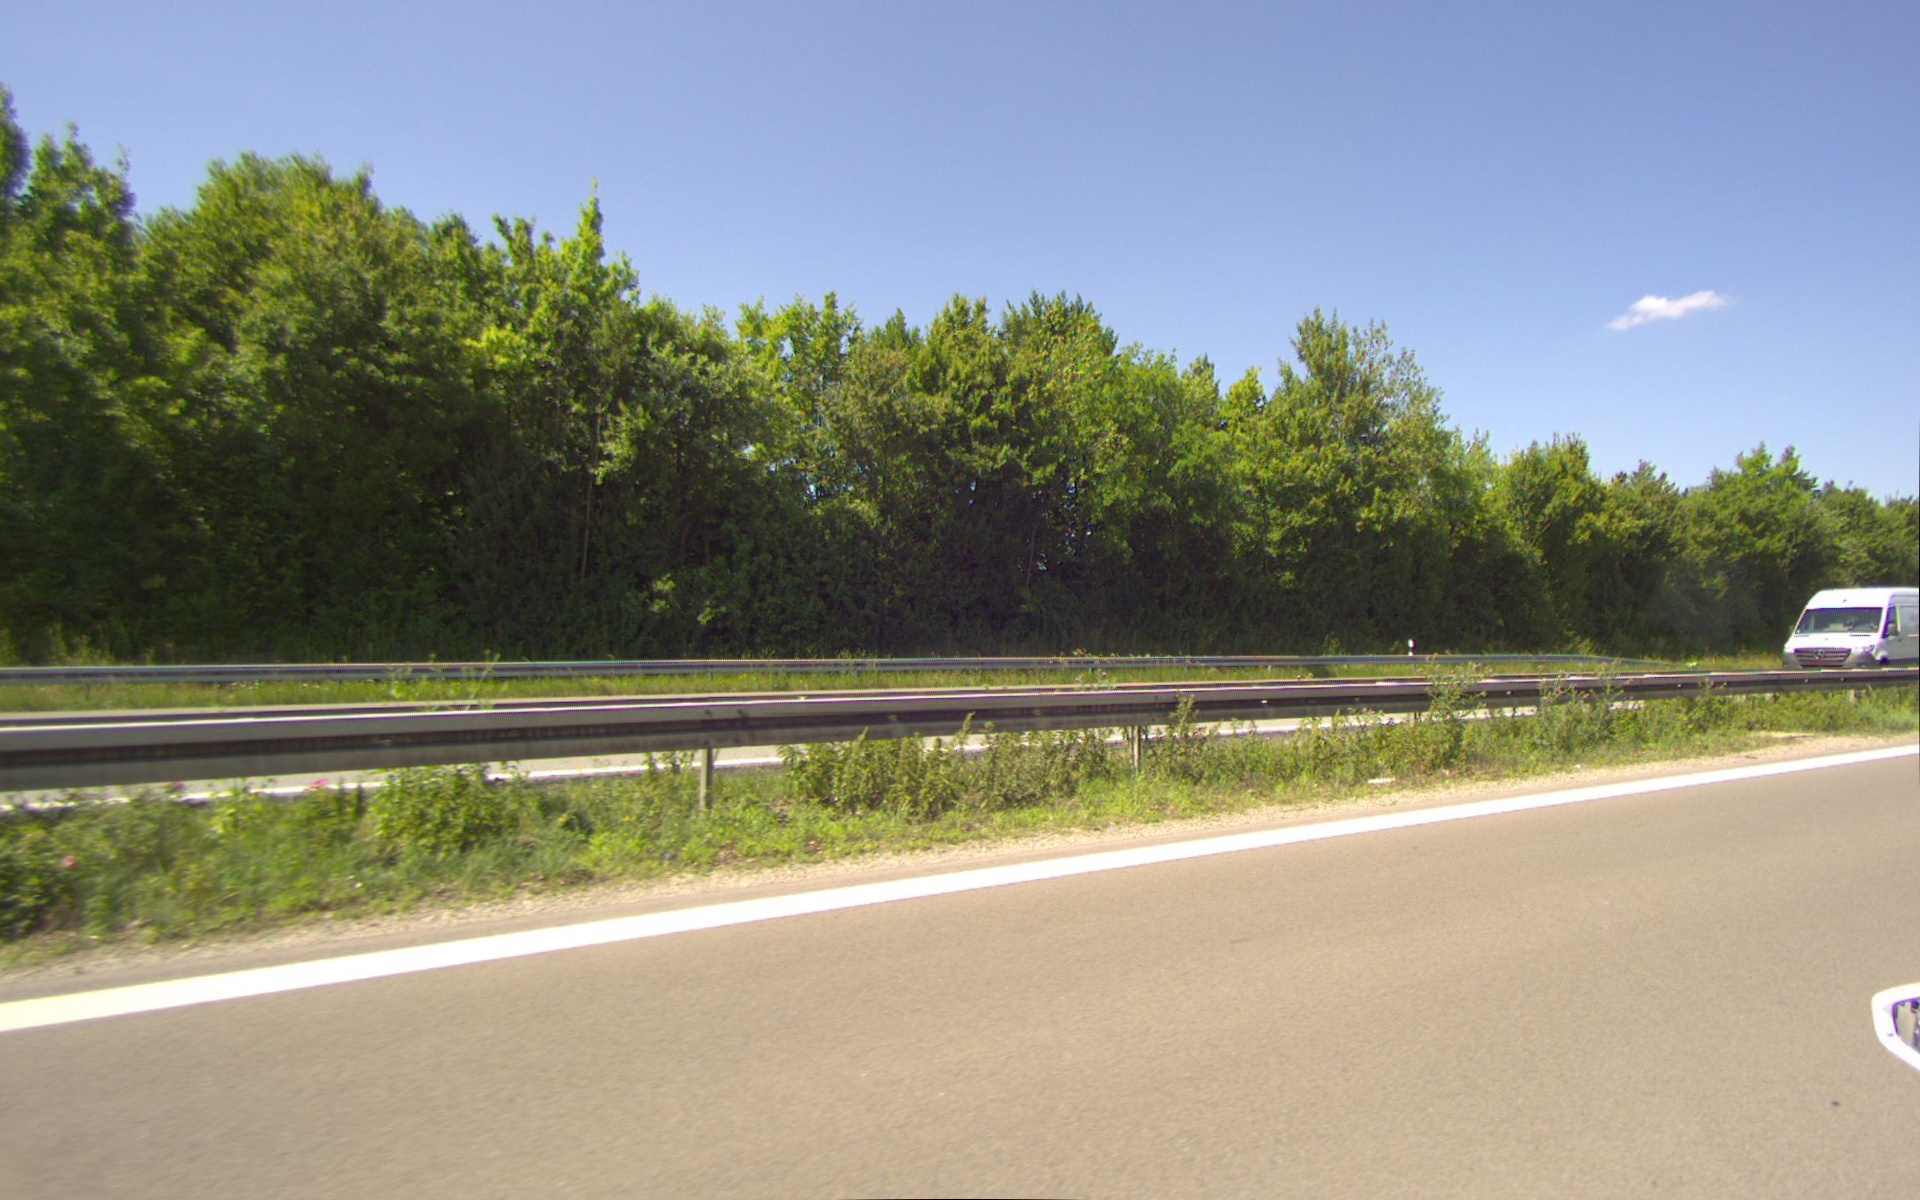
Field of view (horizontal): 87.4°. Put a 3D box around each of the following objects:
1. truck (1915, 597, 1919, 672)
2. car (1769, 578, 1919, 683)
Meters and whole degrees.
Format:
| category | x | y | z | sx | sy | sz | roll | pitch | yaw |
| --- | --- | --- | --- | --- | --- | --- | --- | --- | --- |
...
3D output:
| category | x | y | z | sx | sy | sz | roll | pitch | yaw |
| --- | --- | --- | --- | --- | --- | --- | --- | --- | --- |
| truck | 53.585 | 1.800 | 53.224 | 6.251 | 3.932 | 2.717 | 2 | -4 | -32 |
| car | 24.630 | 0.839 | 27.298 | 6.326 | 2.589 | 2.060 | 2 | -2 | -31 |
